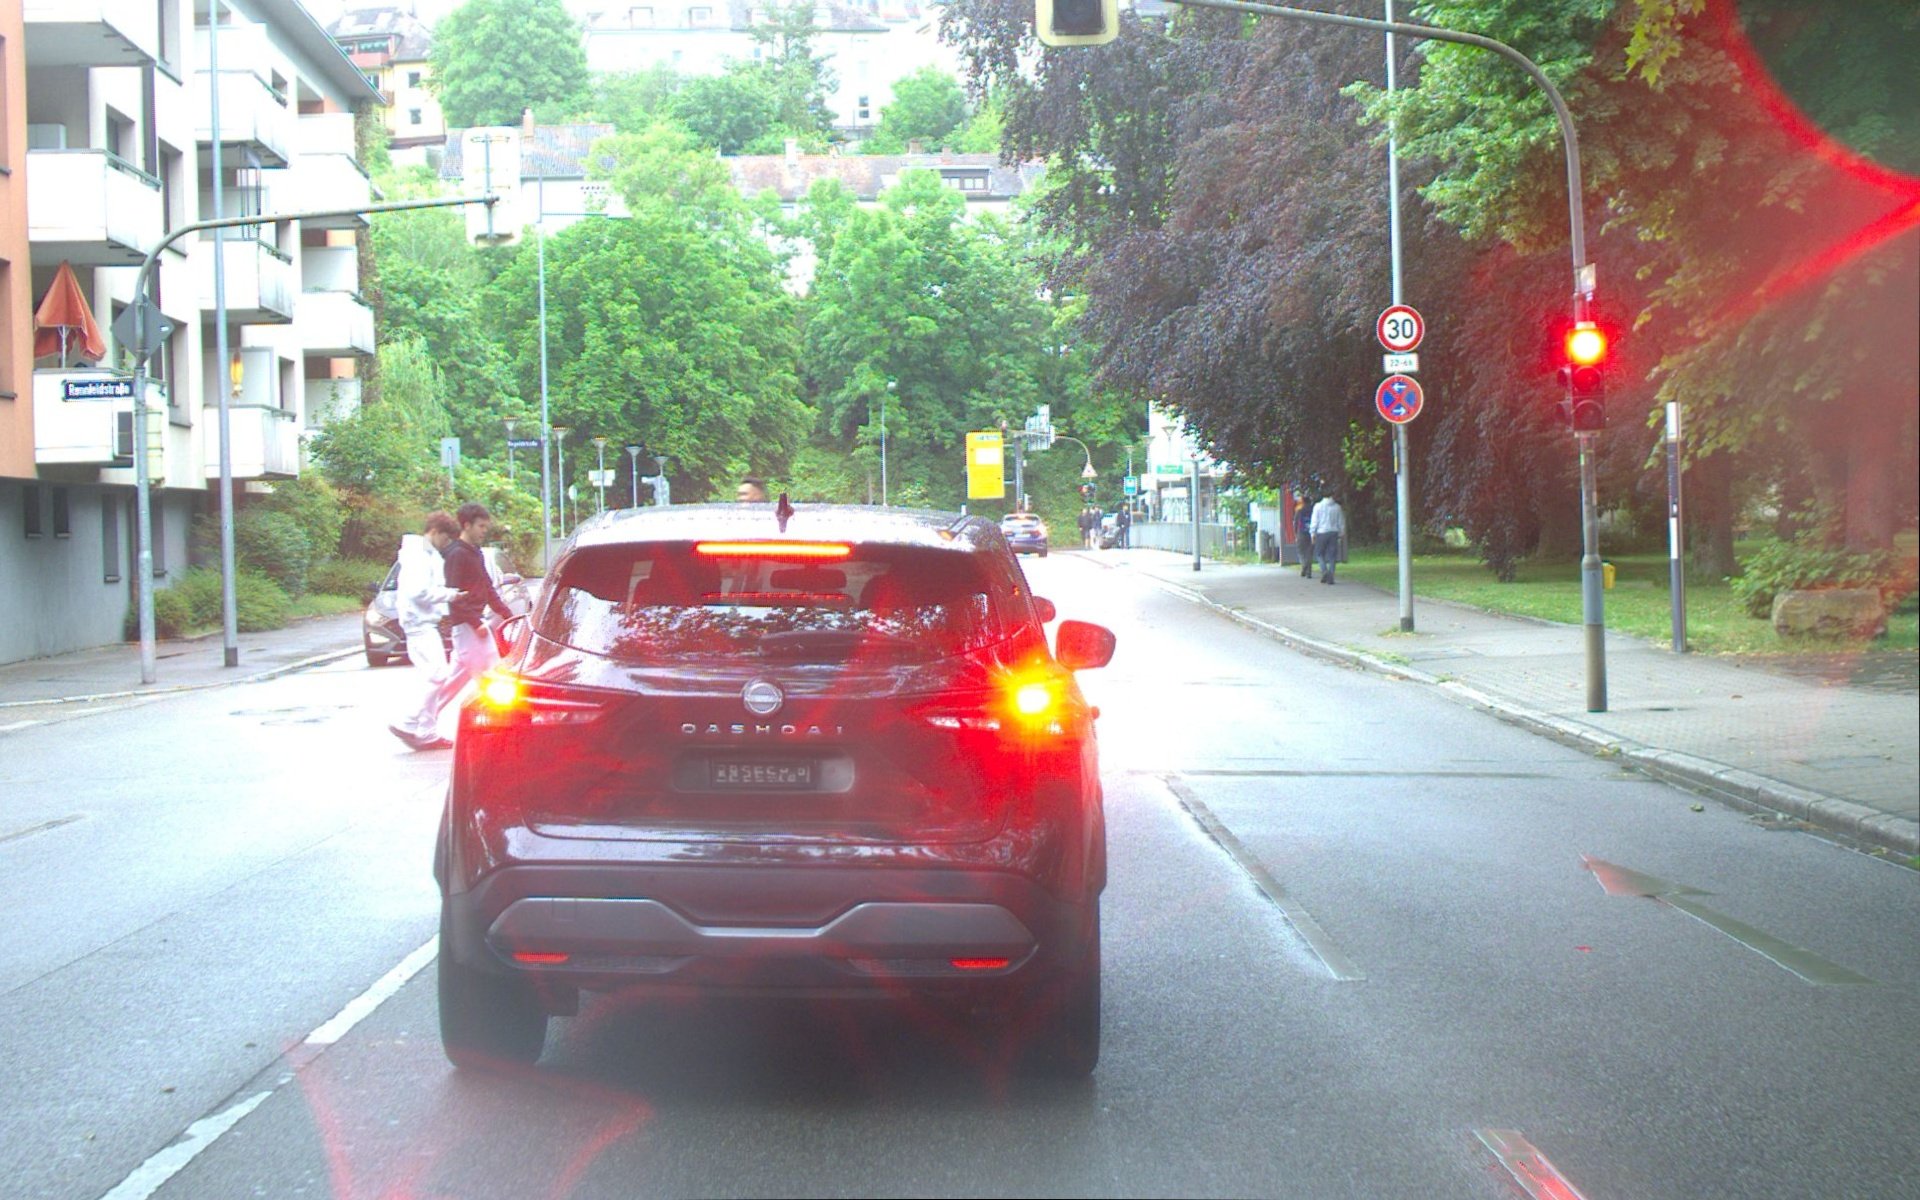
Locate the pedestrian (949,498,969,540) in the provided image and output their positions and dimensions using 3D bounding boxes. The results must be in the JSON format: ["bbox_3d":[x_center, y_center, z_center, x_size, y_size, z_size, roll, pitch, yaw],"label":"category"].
[{"bbox_3d":[-0.050,-3.286,139.069,0.509,1.667,0.658,-1,1,28],"label":"pedestrian"}]

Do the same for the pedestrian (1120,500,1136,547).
[{"bbox_3d":[6.518,-2.981,133.194,0.508,1.795,0.619,-2,1,-1],"label":"pedestrian"}]

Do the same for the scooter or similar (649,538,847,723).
[{"bbox_3d":[-1.698,0.243,27.663,1.394,1.441,0.816,-1,0,12],"label":"scooter or similar"}]

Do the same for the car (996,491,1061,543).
[{"bbox_3d":[2.404,-2.868,119.047,1.994,1.729,3.999,1,1,4],"label":"car"}]

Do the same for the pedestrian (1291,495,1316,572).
[{"bbox_3d":[6.745,-1.313,67.503,0.390,1.497,0.559,-2,1,0],"label":"pedestrian"}]

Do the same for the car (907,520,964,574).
[{"bbox_3d":[-0.732,-1.598,102.743,1.634,1.527,3.968,-2,1,0],"label":"car"}]

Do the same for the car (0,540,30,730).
[{"bbox_3d":[-10.320,0.378,29.381,4.125,1.620,1.851,-2,1,8],"label":"car"}]

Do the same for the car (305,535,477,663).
[{"bbox_3d":[-7.364,-0.054,44.799,1.795,1.528,3.868,-2,1,-4],"label":"car"}]

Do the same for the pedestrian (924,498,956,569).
[{"bbox_3d":[-0.512,-1.696,88.253,0.508,1.795,0.619,-3,1,-36],"label":"pedestrian"}]

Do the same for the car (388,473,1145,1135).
[{"bbox_3d":[-0.506,0.475,10.734,1.913,1.674,4.000,0,1,0],"label":"car"}]

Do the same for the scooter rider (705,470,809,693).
[{"bbox_3d":[-1.627,-0.147,27.633,0.643,1.760,0.735,-1,0,11],"label":"scooter rider"}]

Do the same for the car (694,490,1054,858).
[{"bbox_3d":[-0.436,0.321,18.592,1.698,1.739,3.641,-2,1,0],"label":"car"}]

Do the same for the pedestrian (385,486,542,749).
[{"bbox_3d":[-3.653,0.118,25.257,1.035,1.869,0.658,-2,1,-11],"label":"pedestrian"}]

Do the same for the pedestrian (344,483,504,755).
[{"bbox_3d":[-3.827,0.125,24.506,1.035,1.869,0.658,-2,1,-11],"label":"pedestrian"}]

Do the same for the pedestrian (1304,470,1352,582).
[{"bbox_3d":[6.749,-1.359,63.061,0.725,2.007,0.851,-2,1,0],"label":"pedestrian"}]
